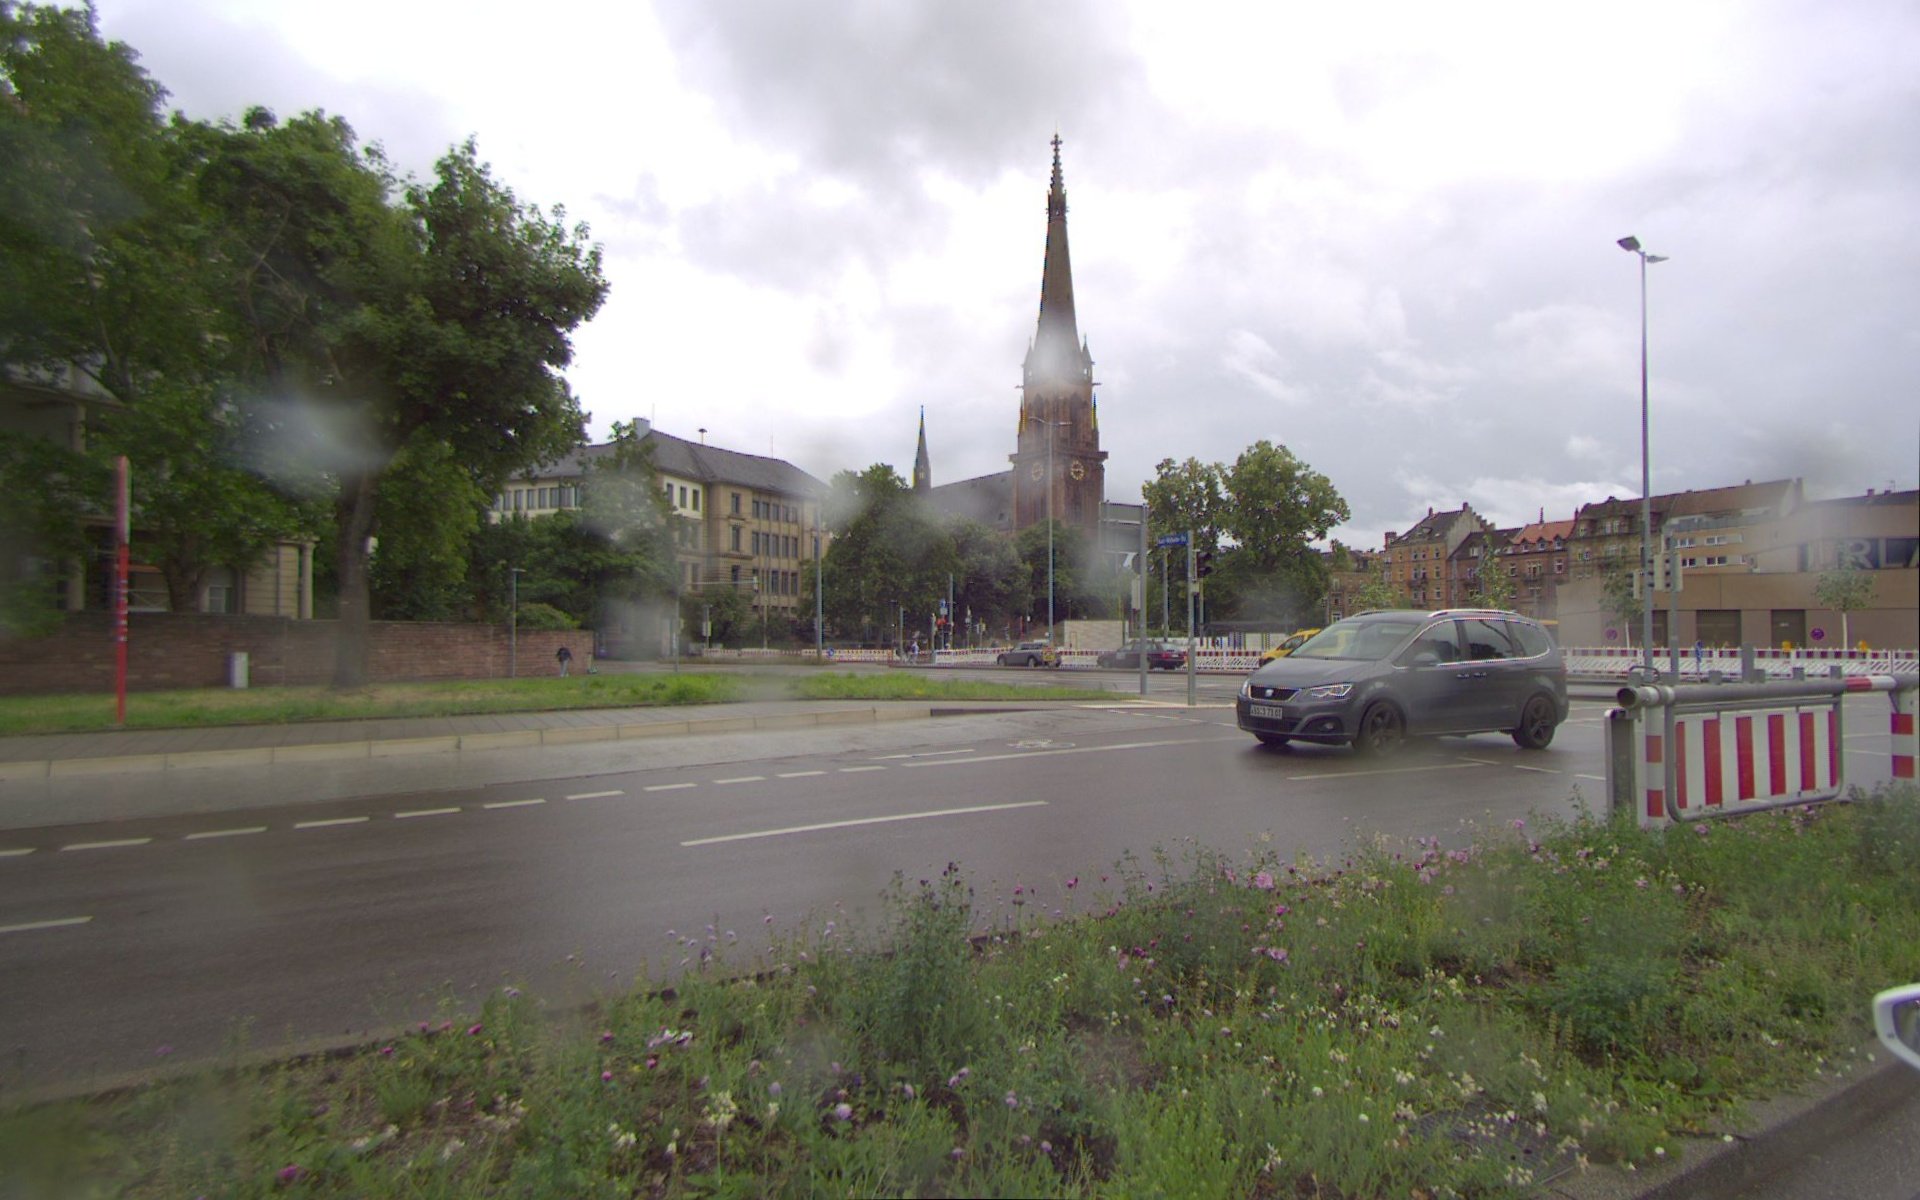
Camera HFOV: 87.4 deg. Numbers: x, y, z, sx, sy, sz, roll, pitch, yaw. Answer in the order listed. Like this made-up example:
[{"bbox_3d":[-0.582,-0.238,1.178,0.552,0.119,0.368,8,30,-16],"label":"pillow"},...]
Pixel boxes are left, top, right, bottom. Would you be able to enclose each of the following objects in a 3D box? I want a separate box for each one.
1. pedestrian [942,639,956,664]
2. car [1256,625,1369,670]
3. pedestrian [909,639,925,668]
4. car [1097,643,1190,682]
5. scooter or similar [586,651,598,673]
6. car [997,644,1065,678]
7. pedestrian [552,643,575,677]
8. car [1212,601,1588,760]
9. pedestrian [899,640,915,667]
[{"bbox_3d":[-0.761,3.651,71.189,0.765,1.801,0.720,1,-2,-30],"label":"pedestrian"},{"bbox_3d":[14.197,1.903,40.655,1.695,1.728,4.109,1,-2,-37],"label":"car"},{"bbox_3d":[-3.160,3.923,73.839,0.945,2.040,0.852,1,-2,-30],"label":"pedestrian"},{"bbox_3d":[8.736,2.957,48.050,1.695,1.728,4.414,1,-2,-37],"label":"car"},{"bbox_3d":[-19.399,3.256,52.966,0.274,1.096,1.078,0,-2,-4],"label":"scooter or similar"},{"bbox_3d":[3.883,3.320,55.157,1.695,1.728,3.780,1,-2,-37],"label":"car"},{"bbox_3d":[-18.007,2.724,45.603,0.661,1.520,0.775,0,-2,5],"label":"pedestrian"},{"bbox_3d":[5.589,0.926,12.655,4.707,1.700,1.766,1,-2,-27],"label":"car"},{"bbox_3d":[-3.925,3.967,74.582,0.945,2.040,0.852,1,-2,-30],"label":"pedestrian"}]
